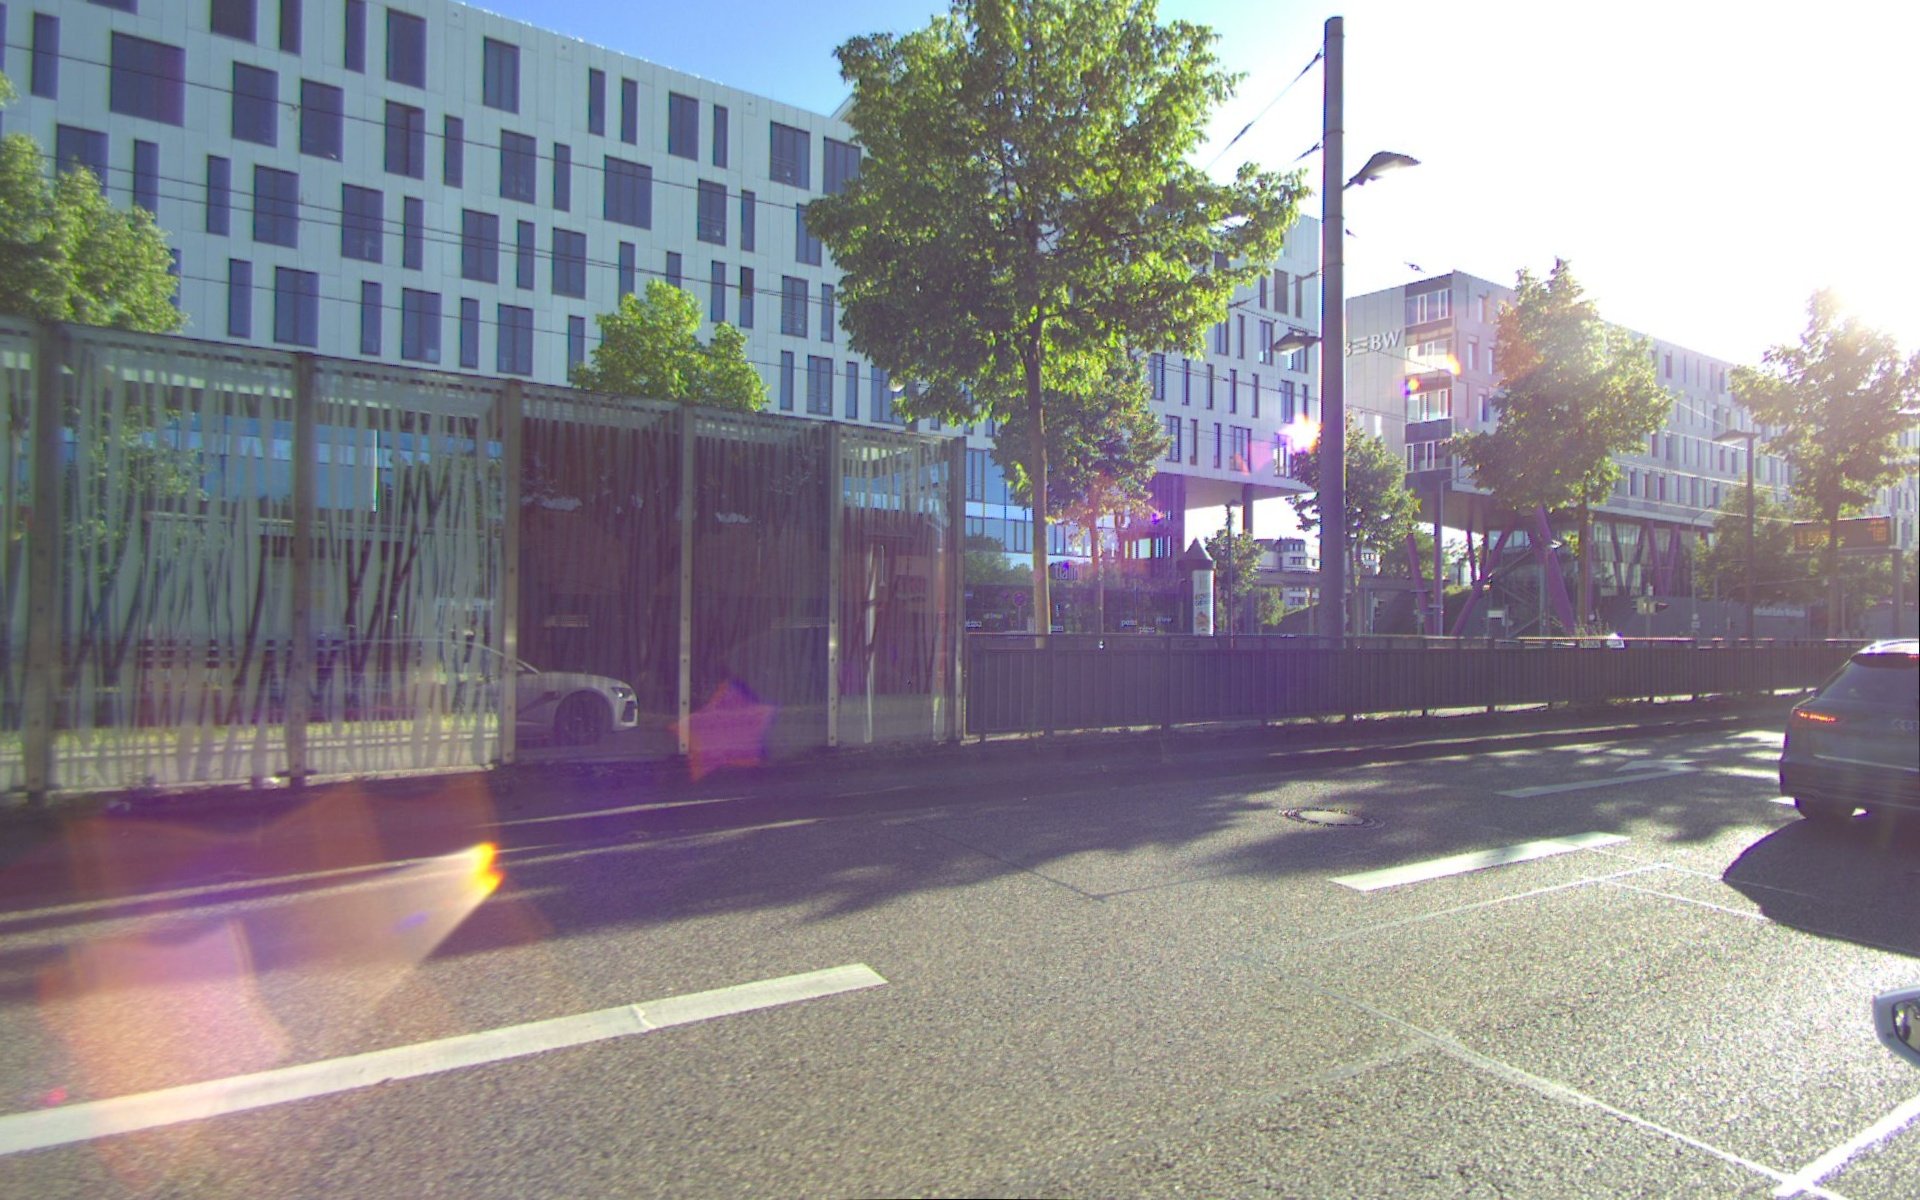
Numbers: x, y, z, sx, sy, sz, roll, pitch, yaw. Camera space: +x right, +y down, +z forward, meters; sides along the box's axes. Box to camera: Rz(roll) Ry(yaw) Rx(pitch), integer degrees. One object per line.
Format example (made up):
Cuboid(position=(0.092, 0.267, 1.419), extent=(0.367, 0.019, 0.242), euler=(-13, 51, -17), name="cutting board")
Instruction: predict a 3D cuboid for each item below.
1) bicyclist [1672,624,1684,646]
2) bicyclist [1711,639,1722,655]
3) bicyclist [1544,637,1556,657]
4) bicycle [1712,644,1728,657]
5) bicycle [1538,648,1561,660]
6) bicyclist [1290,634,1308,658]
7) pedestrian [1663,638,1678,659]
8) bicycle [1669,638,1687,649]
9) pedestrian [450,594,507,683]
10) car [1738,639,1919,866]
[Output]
Cuboid(position=(59.381, 2.901, 83.042), extent=(0.827, 1.749, 0.527), euler=(1, -1, -30), name="bicyclist")
Cuboid(position=(70.579, 4.387, 93.687), extent=(0.754, 1.515, 0.555), euler=(2, -2, -31), name="bicyclist")
Cuboid(position=(43.480, 3.484, 74.025), extent=(0.544, 1.441, 0.481), euler=(1, -1, -16), name="bicyclist")
Cuboid(position=(70.705, 4.684, 93.451), extent=(1.953, 1.188, 0.517), euler=(2, -2, -32), name="bicycle")
Cuboid(position=(43.409, 3.969, 73.998), extent=(1.664, 0.874, 0.481), euler=(1, -1, -16), name="bicycle")
Cuboid(position=(23.210, 3.161, 68.803), extent=(0.742, 1.604, 0.949), euler=(1, -1, -29), name="bicyclist")
Cuboid(position=(61.726, 4.206, 87.269), extent=(0.861, 1.846, 0.717), euler=(1, -2, -31), name="pedestrian")
Cuboid(position=(59.321, 3.571, 82.993), extent=(1.812, 0.874, 0.525), euler=(1, -1, -31), name="bicycle")
Cuboid(position=(-8.271, 0.649, 17.265), extent=(0.833, 1.486, 1.062), euler=(1, -1, -26), name="pedestrian")
Cuboid(position=(8.262, 1.087, 7.832), extent=(4.633, 1.446, 1.804), euler=(2, 0, -29), name="car")
